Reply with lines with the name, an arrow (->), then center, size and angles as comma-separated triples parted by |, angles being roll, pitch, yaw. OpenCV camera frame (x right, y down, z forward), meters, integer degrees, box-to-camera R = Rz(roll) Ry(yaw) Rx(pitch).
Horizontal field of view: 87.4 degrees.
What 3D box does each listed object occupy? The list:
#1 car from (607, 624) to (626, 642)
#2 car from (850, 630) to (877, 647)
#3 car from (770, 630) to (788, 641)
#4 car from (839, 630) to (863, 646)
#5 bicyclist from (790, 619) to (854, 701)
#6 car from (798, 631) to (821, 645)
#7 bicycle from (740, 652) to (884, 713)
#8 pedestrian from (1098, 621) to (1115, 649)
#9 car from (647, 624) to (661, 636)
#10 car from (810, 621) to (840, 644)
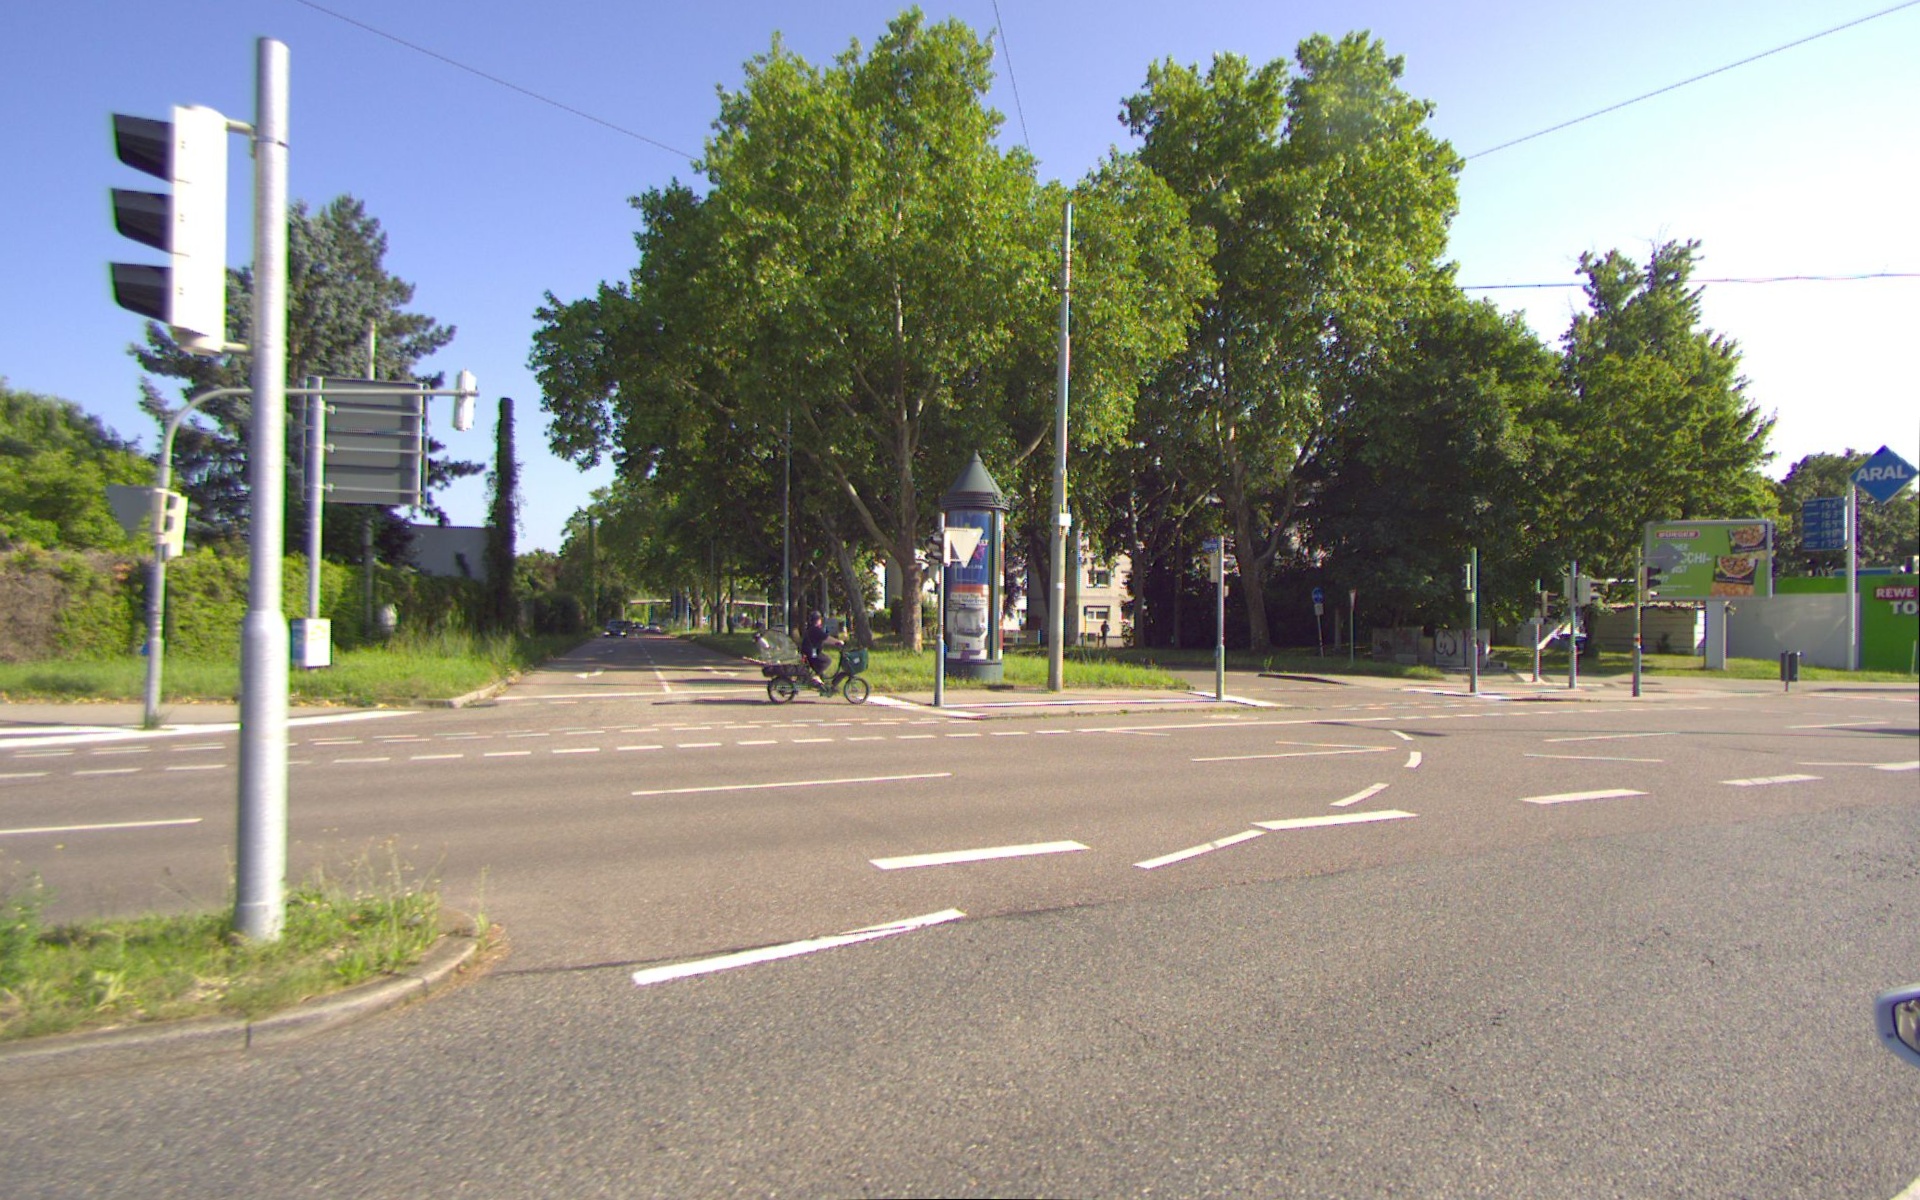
car -> -29.833, 2.853, 87.314 | 1.485, 1.325, 3.410 | 2, 0, -19
car -> -9.411, 3.725, 97.851 | 1.795, 1.544, 3.525 | 1, -2, -19
car -> -23.526, 4.586, 130.504 | 1.795, 1.425, 3.525 | 1, -2, -19
car -> -11.376, 3.959, 104.887 | 1.795, 1.544, 3.525 | 1, -2, -19
bicyclist -> -2.566, 1.103, 18.713 | 1.036, 1.471, 0.660 | 1, -1, -23
car -> -16.015, 4.026, 107.021 | 1.795, 1.425, 3.525 | 1, -2, -19
bicycle -> -2.733, 1.504, 18.638 | 2.543, 1.063, 0.660 | 1, -1, -23
pedestrian -> 9.415, 2.239, 64.654 | 0.862, 1.793, 0.686 | 1, -1, -13
car -> -38.518, 3.735, 126.383 | 1.486, 1.325, 3.408 | 2, 0, -20
car -> -12.113, 2.878, 89.868 | 1.795, 1.989, 4.384 | 1, -2, -19
